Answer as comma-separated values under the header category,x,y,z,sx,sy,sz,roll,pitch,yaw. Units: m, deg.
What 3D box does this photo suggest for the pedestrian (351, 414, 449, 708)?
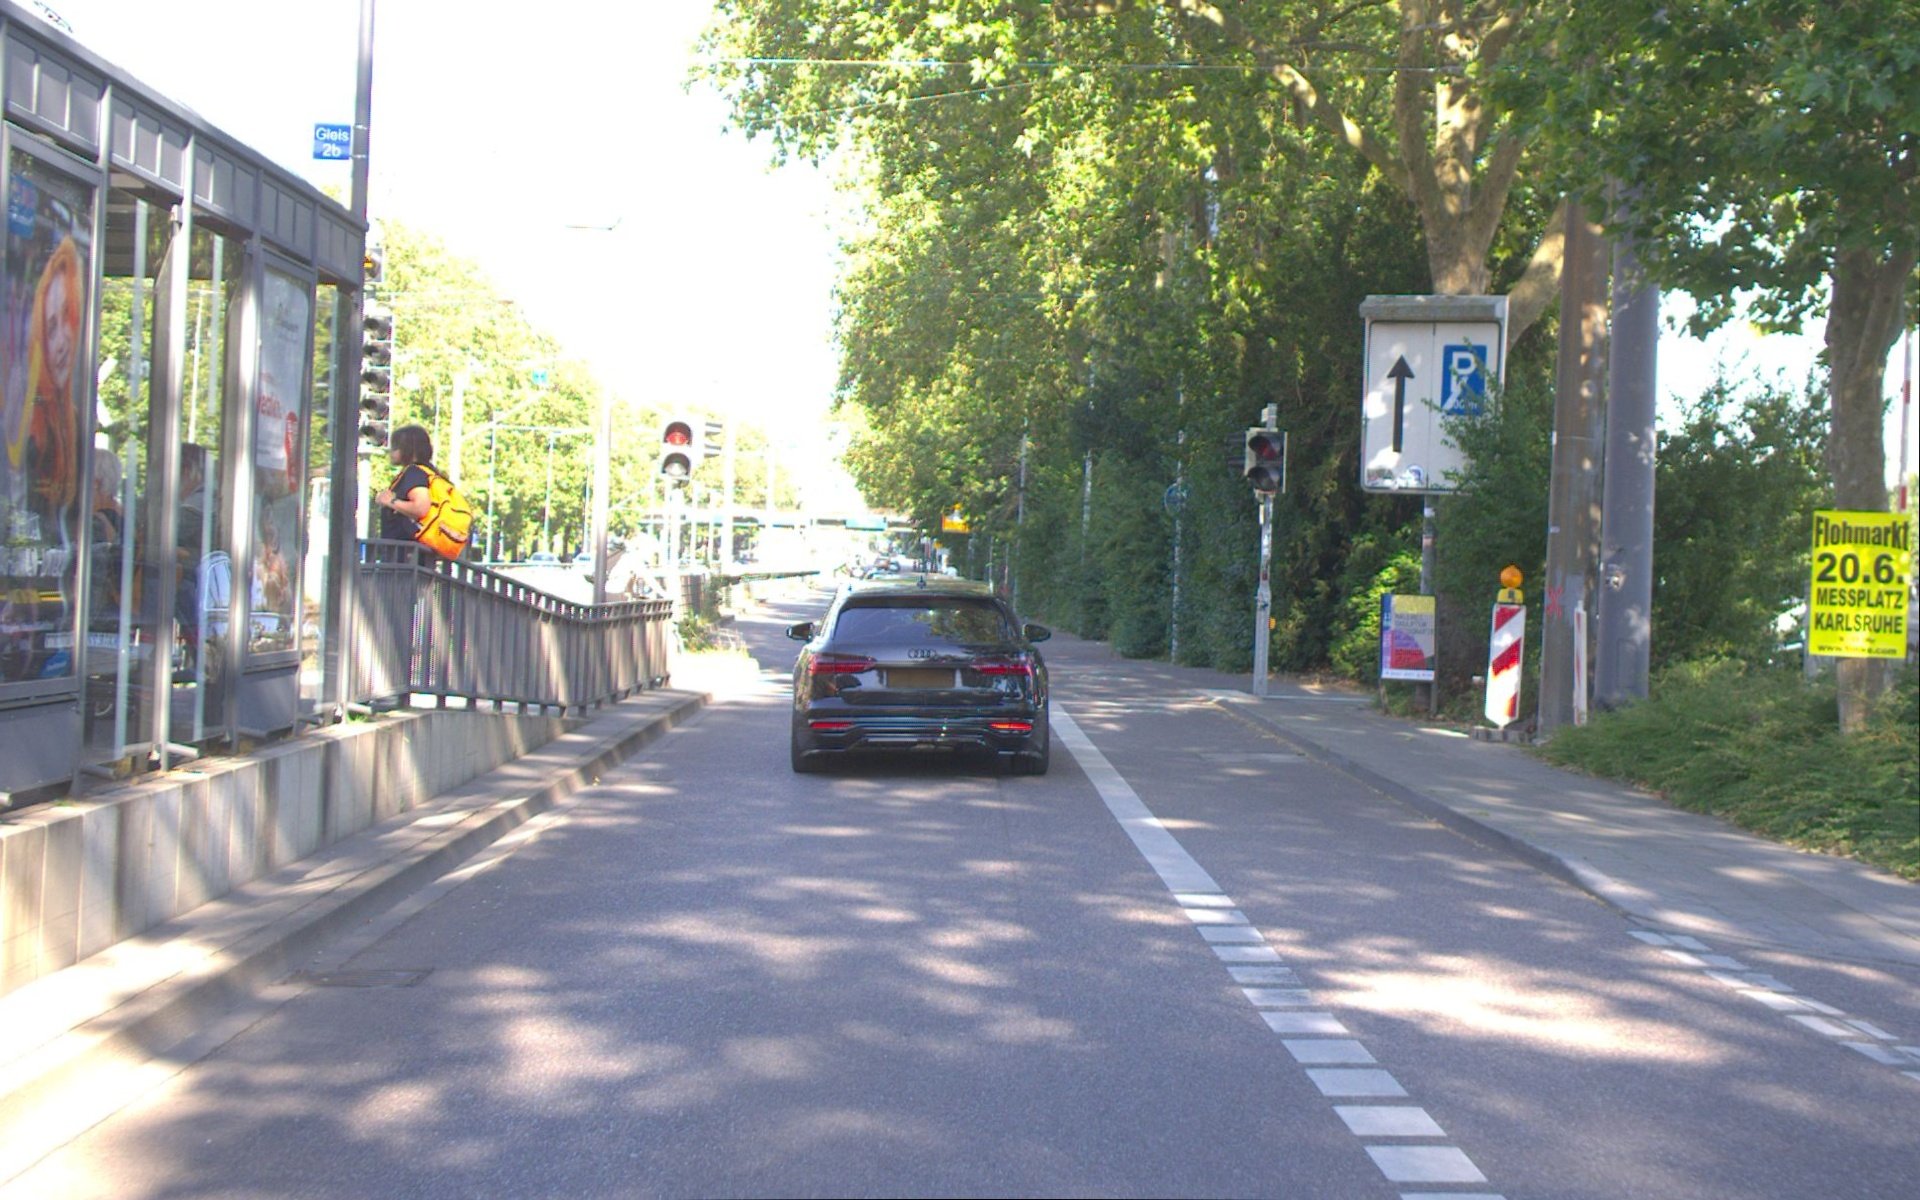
category,x,y,z,sx,sy,sz,roll,pitch,yaw
pedestrian,-3.340,-0.235,20.530,0.412,1.711,0.666,3,0,-1

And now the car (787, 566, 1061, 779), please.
category,x,y,z,sx,sy,sz,roll,pitch,yaw
car,-0.333,0.493,25.793,1.878,1.452,3.357,1,1,-3

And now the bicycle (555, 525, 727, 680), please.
category,x,y,z,sx,sy,sz,roll,pitch,yaw
bicycle,-3.643,0.037,39.409,0.591,1.711,1.968,3,1,45

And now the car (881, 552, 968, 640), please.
category,x,y,z,sx,sy,sz,roll,pitch,yaw
car,-0.877,-0.120,84.283,1.993,2.007,4.000,2,1,-1

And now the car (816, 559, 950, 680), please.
category,x,y,z,sx,sy,sz,roll,pitch,yaw
car,-1.162,0.249,50.211,1.762,1.614,4.001,2,1,-3

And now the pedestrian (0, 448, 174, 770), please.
category,x,y,z,sx,sy,sz,roll,pitch,yaw
pedestrian,-3.639,0.034,14.299,0.567,1.288,0.500,3,0,-1

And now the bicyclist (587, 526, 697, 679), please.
category,x,y,z,sx,sy,sz,roll,pitch,yaw
bicyclist,-3.640,0.030,39.358,0.907,1.711,0.770,2,1,-45

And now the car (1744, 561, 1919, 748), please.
category,x,y,z,sx,sy,sz,roll,pitch,yaw
car,10.069,0.581,34.327,3.987,1.758,1.833,2,0,0
